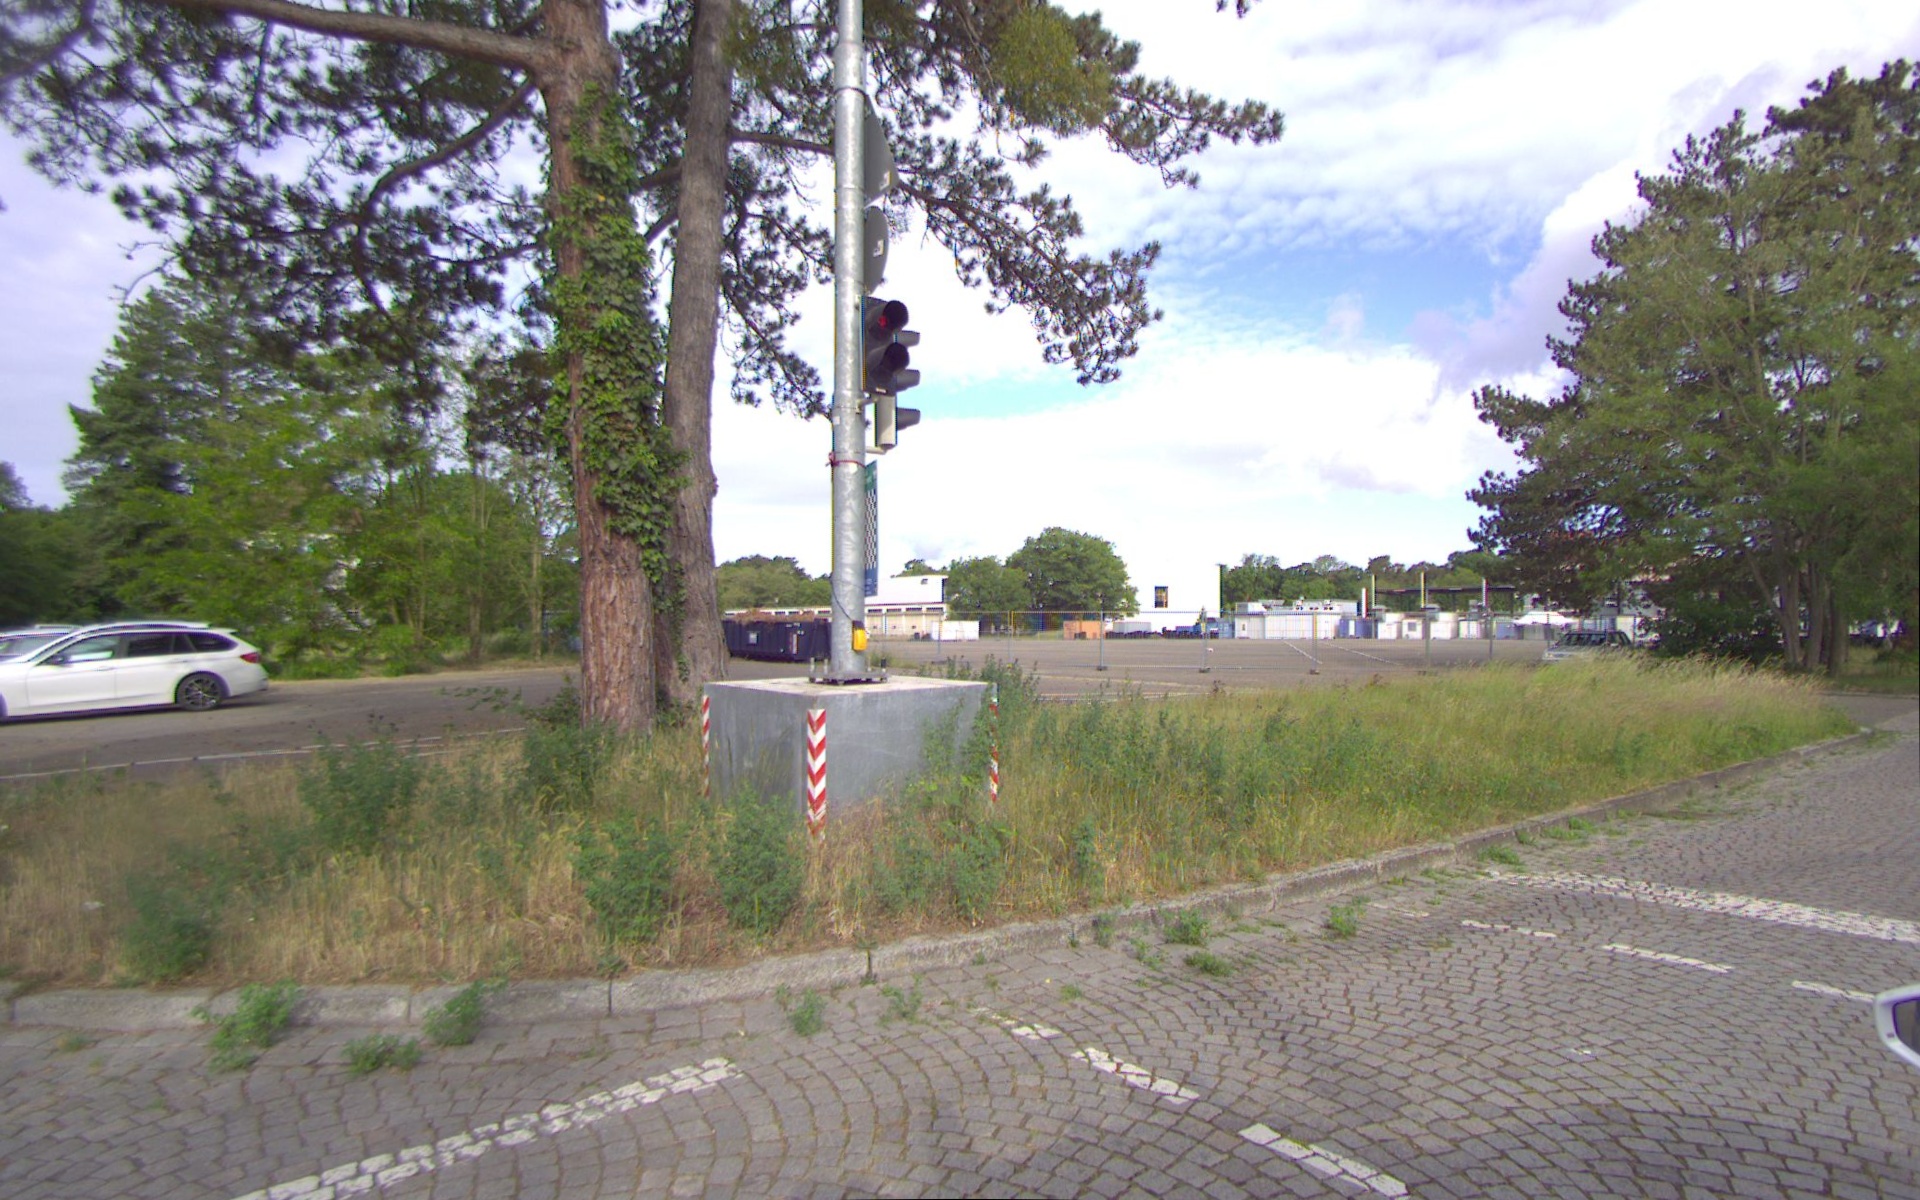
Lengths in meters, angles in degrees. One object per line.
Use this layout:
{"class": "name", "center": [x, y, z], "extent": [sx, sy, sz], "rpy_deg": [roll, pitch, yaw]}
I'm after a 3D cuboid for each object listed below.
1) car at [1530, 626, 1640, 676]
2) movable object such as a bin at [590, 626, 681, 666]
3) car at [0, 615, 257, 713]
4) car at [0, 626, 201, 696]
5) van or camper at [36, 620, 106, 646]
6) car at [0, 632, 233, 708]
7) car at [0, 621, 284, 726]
{"class": "car", "center": [20.316, 1.603, 32.598], "extent": [4.336, 1.496, 1.902], "rpy_deg": [1, -2, -42]}
{"class": "movable object such as a bin", "center": [-10.268, 1.430, 31.815], "extent": [2.518, 1.228, 1.157], "rpy_deg": [1, -1, -39]}
{"class": "car", "center": [-16.068, 1.131, 18.895], "extent": [4.454, 1.611, 1.824], "rpy_deg": [-1, 0, -43]}
{"class": "car", "center": [-19.756, 1.338, 22.734], "extent": [3.959, 1.475, 1.659], "rpy_deg": [2, -2, -43]}
{"class": "van or camper", "center": [-89.312, 3.314, 101.017], "extent": [5.210, 2.496, 2.183], "rpy_deg": [1, -2, -41]}
{"class": "car", "center": [-17.963, 1.394, 20.785], "extent": [4.599, 1.441, 1.862], "rpy_deg": [2, -2, -41]}
{"class": "car", "center": [-14.406, 1.190, 16.946], "extent": [4.783, 1.459, 1.891], "rpy_deg": [-2, 0, -41]}
